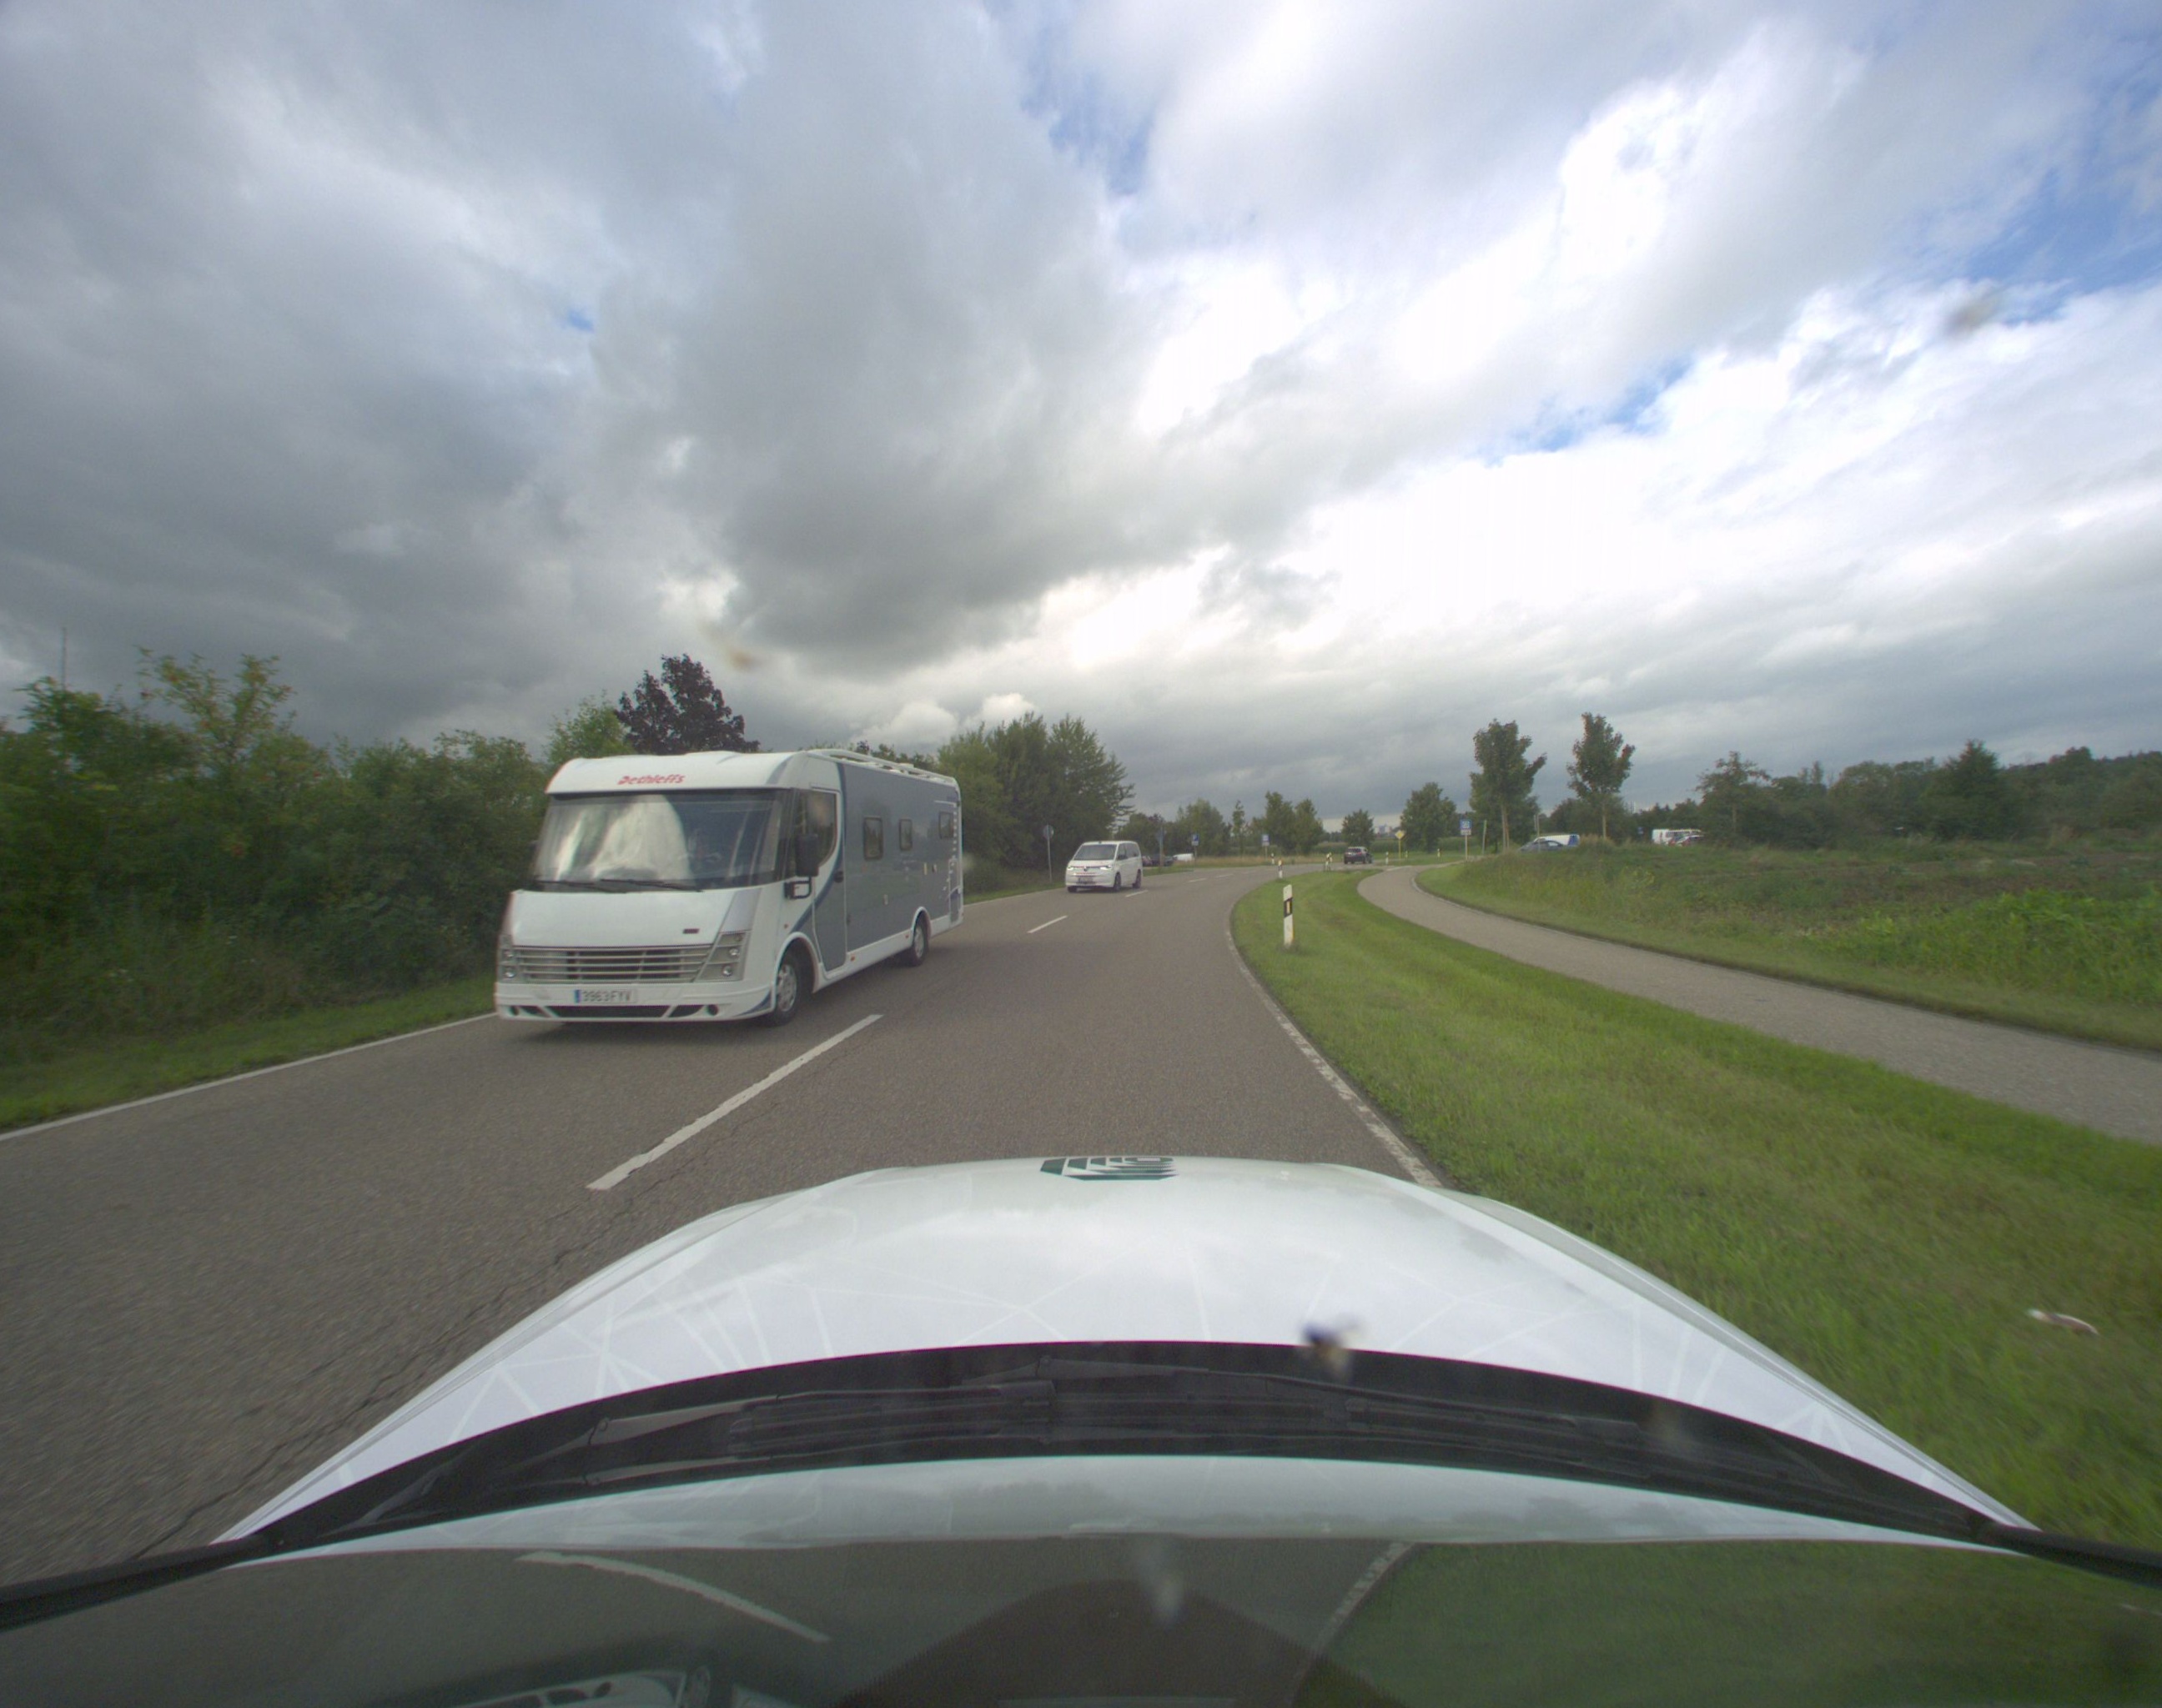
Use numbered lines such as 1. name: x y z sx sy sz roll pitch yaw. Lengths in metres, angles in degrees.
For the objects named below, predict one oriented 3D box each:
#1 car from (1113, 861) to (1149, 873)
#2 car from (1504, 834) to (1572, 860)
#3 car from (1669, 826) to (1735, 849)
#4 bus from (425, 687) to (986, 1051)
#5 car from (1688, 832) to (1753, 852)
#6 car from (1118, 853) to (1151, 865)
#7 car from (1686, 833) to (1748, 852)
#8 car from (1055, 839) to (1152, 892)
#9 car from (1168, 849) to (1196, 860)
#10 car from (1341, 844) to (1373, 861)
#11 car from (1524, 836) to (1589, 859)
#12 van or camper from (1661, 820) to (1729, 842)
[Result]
1. car: 6.049 1.570 98.891 3.953 1.380 1.833 -2 0 20
2. car: 38.283 -0.544 68.256 4.898 1.974 1.967 -2 0 31
3. car: 62.788 -1.669 82.401 4.977 2.000 2.246 -4 -1 30
4. bus: -3.394 0.133 10.411 2.462 2.711 8.444 -2 0 6
5. car: 47.959 -0.875 61.167 3.651 1.391 1.741 -2 0 31
6. car: 6.755 0.612 102.373 3.964 1.380 1.479 -2 0 8
7. car: 51.484 -0.959 66.025 3.653 1.391 1.770 -2 0 26
8. car: 0.991 0.396 31.649 2.095 1.869 5.214 -2 0 21
9. car: 15.013 0.076 121.357 3.958 1.380 1.482 -2 0 14
10. car: 23.944 -0.162 70.518 1.823 1.417 4.025 -2 0 31
11. car: 36.987 -0.509 63.387 4.230 1.566 1.849 -4 -1 31
12. van or camper: 77.292 -2.872 102.704 6.677 2.562 2.062 -2 0 35
